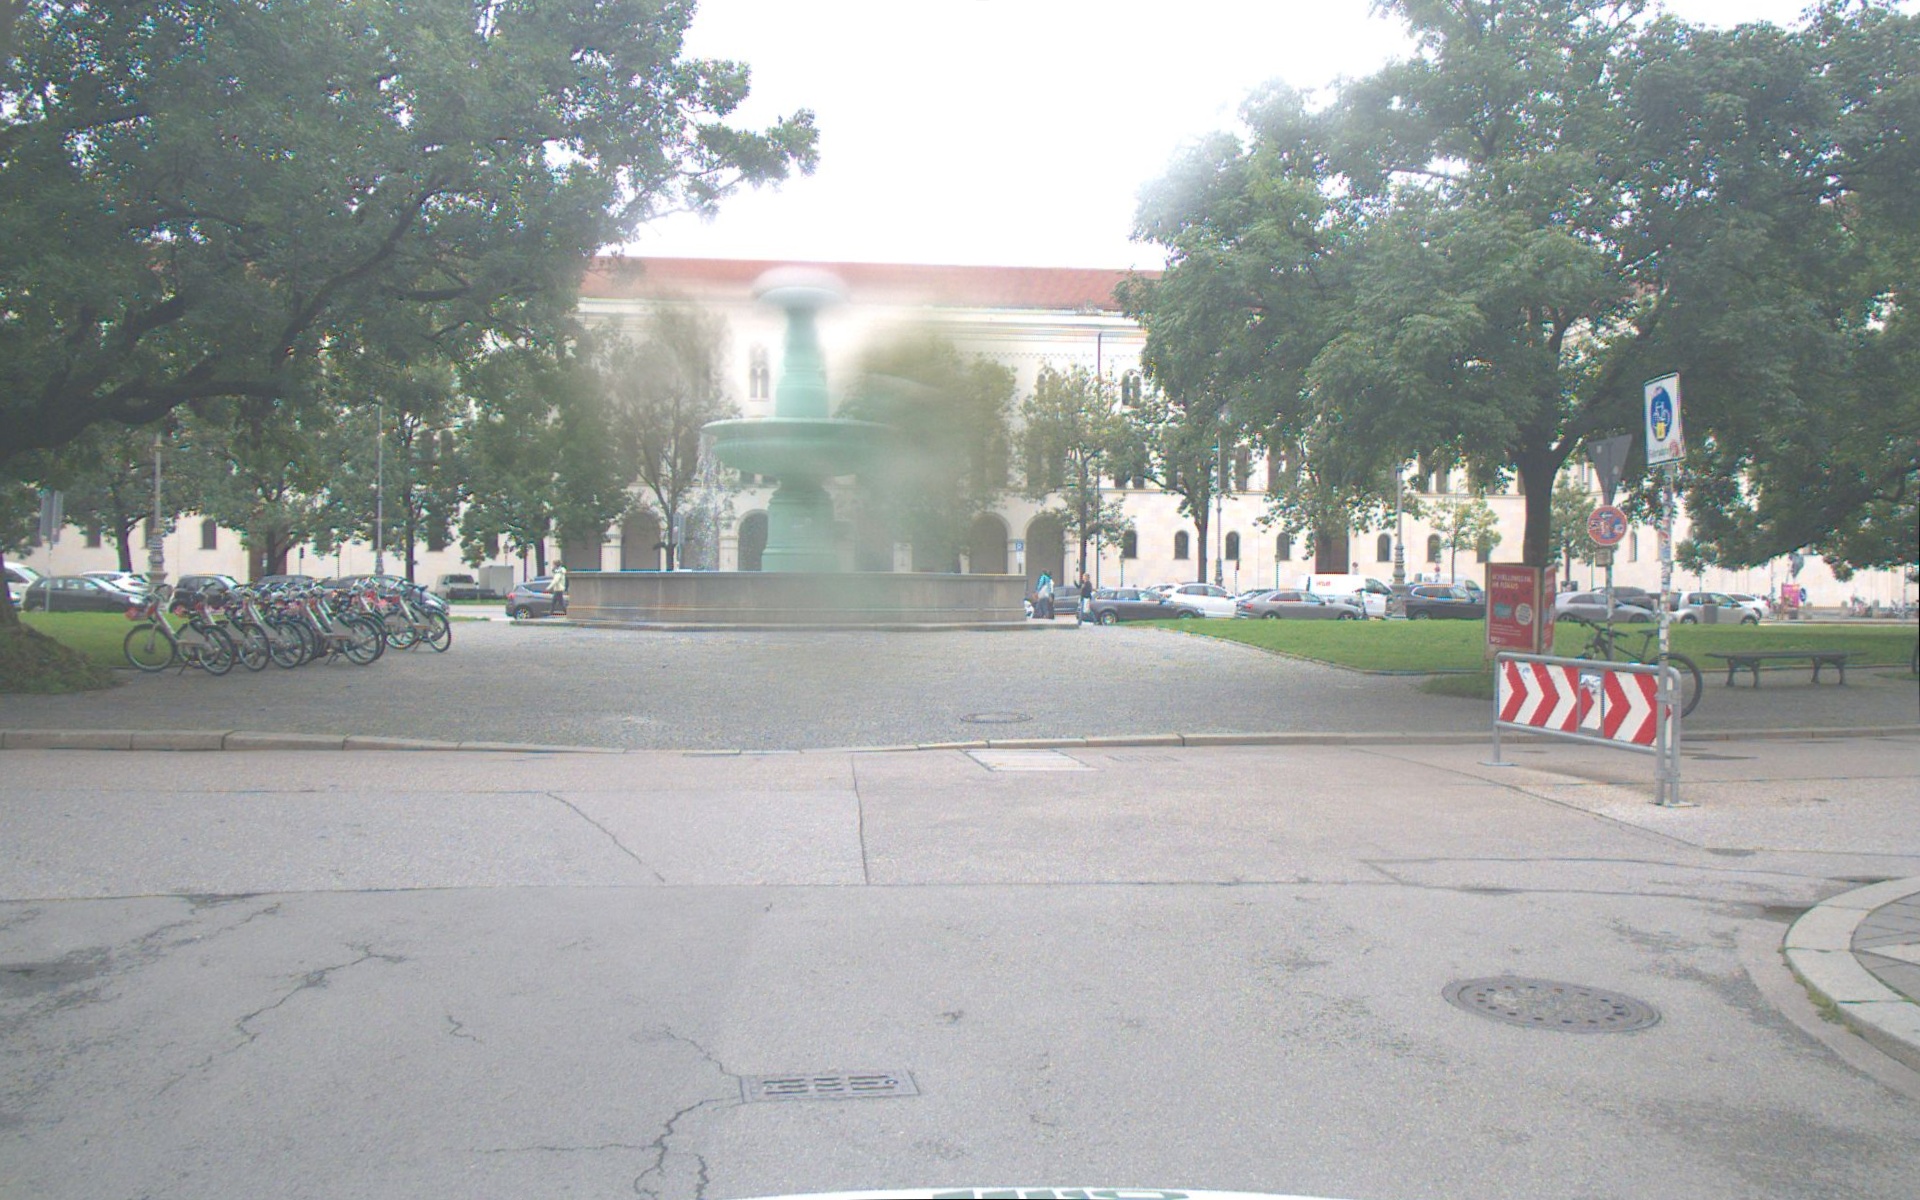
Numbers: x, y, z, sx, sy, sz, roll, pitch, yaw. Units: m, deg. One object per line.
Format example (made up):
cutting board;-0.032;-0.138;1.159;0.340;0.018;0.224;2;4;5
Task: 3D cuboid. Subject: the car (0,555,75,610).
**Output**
car;-36.271;-0.682;62.582;4.455;2.049;1.995;0;1;-11

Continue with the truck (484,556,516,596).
truck;-30.551;-1.613;109.914;1.961;2.532;3.983;1;1;-16

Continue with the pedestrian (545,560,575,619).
pedestrian;-11.453;-0.305;47.356;0.736;1.668;0.709;0;1;-5

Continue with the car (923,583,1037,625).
car;0.683;0.126;58.194;3.907;1.427;1.824;0;1;-3

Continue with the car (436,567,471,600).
car;-32.802;-1.113;107.117;2.099;2.049;4.170;1;1;-18

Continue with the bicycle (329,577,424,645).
bicycle;-9.995;0.186;28.361;1.371;1.118;0.657;1;1;6

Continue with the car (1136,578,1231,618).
car;10.415;-0.115;77.169;4.021;1.771;1.743;1;1;-9

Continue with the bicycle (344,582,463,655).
bicycle;-8.998;0.287;26.760;1.673;1.118;0.699;1;1;6

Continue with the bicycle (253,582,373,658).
bicycle;-10.069;0.301;25.765;1.584;1.118;0.699;1;1;6

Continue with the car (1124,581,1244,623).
car;8.519;0.072;63.154;4.271;1.551;1.802;0;1;-4

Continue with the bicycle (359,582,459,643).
bicycle;-9.735;0.217;29.247;1.503;1.037;0.699;1;1;6

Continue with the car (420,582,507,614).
car;-22.785;-0.099;75.934;3.602;1.400;1.600;0;1;-8

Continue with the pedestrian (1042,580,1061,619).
pedestrian;2.863;-0.021;51.808;0.434;1.235;0.535;0;1;21

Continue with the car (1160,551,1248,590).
car;11.981;-1.456;81.250;3.911;1.815;1.929;1;1;-7

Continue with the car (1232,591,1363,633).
car;12.048;0.433;59.122;4.271;1.443;1.802;0;1;-4

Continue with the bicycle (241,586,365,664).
bicycle;-9.898;0.370;24.938;1.584;1.118;0.699;1;1;6

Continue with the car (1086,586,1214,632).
car;6.702;0.303;58.539;4.271;1.551;1.802;0;1;-4

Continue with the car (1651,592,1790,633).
car;27.825;0.454;60.595;4.271;1.443;1.802;0;1;-4

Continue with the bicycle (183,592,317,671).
bicycle;-10.037;0.434;23.408;1.584;1.054;0.699;1;1;6

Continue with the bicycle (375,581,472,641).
bicycle;-9.746;0.187;30.082;1.503;1.037;0.699;1;1;6

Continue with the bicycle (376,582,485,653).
bicycle;-8.784;0.280;27.457;1.584;1.118;0.617;1;1;6

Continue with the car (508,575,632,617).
car;-13.321;-0.136;56.739;3.910;1.400;1.997;0;1;-7

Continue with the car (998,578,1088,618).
car;3.828;-0.108;76.677;3.910;1.780;1.806;1;1;-6

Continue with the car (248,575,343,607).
car;-29.498;-0.404;73.444;3.601;1.400;1.601;0;1;-7

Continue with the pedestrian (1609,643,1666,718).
pedestrian;7.313;0.867;17.868;0.406;0.776;0.460;1;1;0

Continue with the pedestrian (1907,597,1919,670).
pedestrian;14.626;0.503;24.754;0.519;1.084;0.618;1;1;0

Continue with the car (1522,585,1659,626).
car;22.808;0.185;59.910;4.271;1.443;1.802;0;1;-4

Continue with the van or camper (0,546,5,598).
van or camper;-40.535;-1.044;65.177;4.493;2.049;1.997;-2;0;-8

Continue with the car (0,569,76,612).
car;-32.371;-0.334;54.964;4.873;1.400;1.997;0;1;-7

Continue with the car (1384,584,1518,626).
car;17.575;0.169;59.334;4.271;1.443;1.802;0;1;-4

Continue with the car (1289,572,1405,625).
car;15.625;-0.073;66.910;4.239;2.049;1.823;1;1;-2

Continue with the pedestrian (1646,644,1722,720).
pedestrian;7.819;0.877;17.876;0.557;0.776;0.566;1;1;0

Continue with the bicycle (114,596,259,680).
bicycle;-10.204;0.490;21.839;1.584;1.054;0.699;1;1;6

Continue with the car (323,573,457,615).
car;-19.242;-0.213;55.996;3.910;1.400;1.997;0;1;-7

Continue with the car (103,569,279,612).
car;-25.852;-0.336;55.749;4.976;1.400;1.997;0;1;-7

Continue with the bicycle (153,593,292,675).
bicycle;-10.097;0.453;22.661;1.584;1.054;0.699;1;1;6

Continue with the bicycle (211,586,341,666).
bicycle;-9.978;0.371;24.149;1.584;1.118;0.699;1;1;6

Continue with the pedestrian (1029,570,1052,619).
pedestrian;2.480;-0.186;50.926;0.570;1.491;0.548;0;1;18
